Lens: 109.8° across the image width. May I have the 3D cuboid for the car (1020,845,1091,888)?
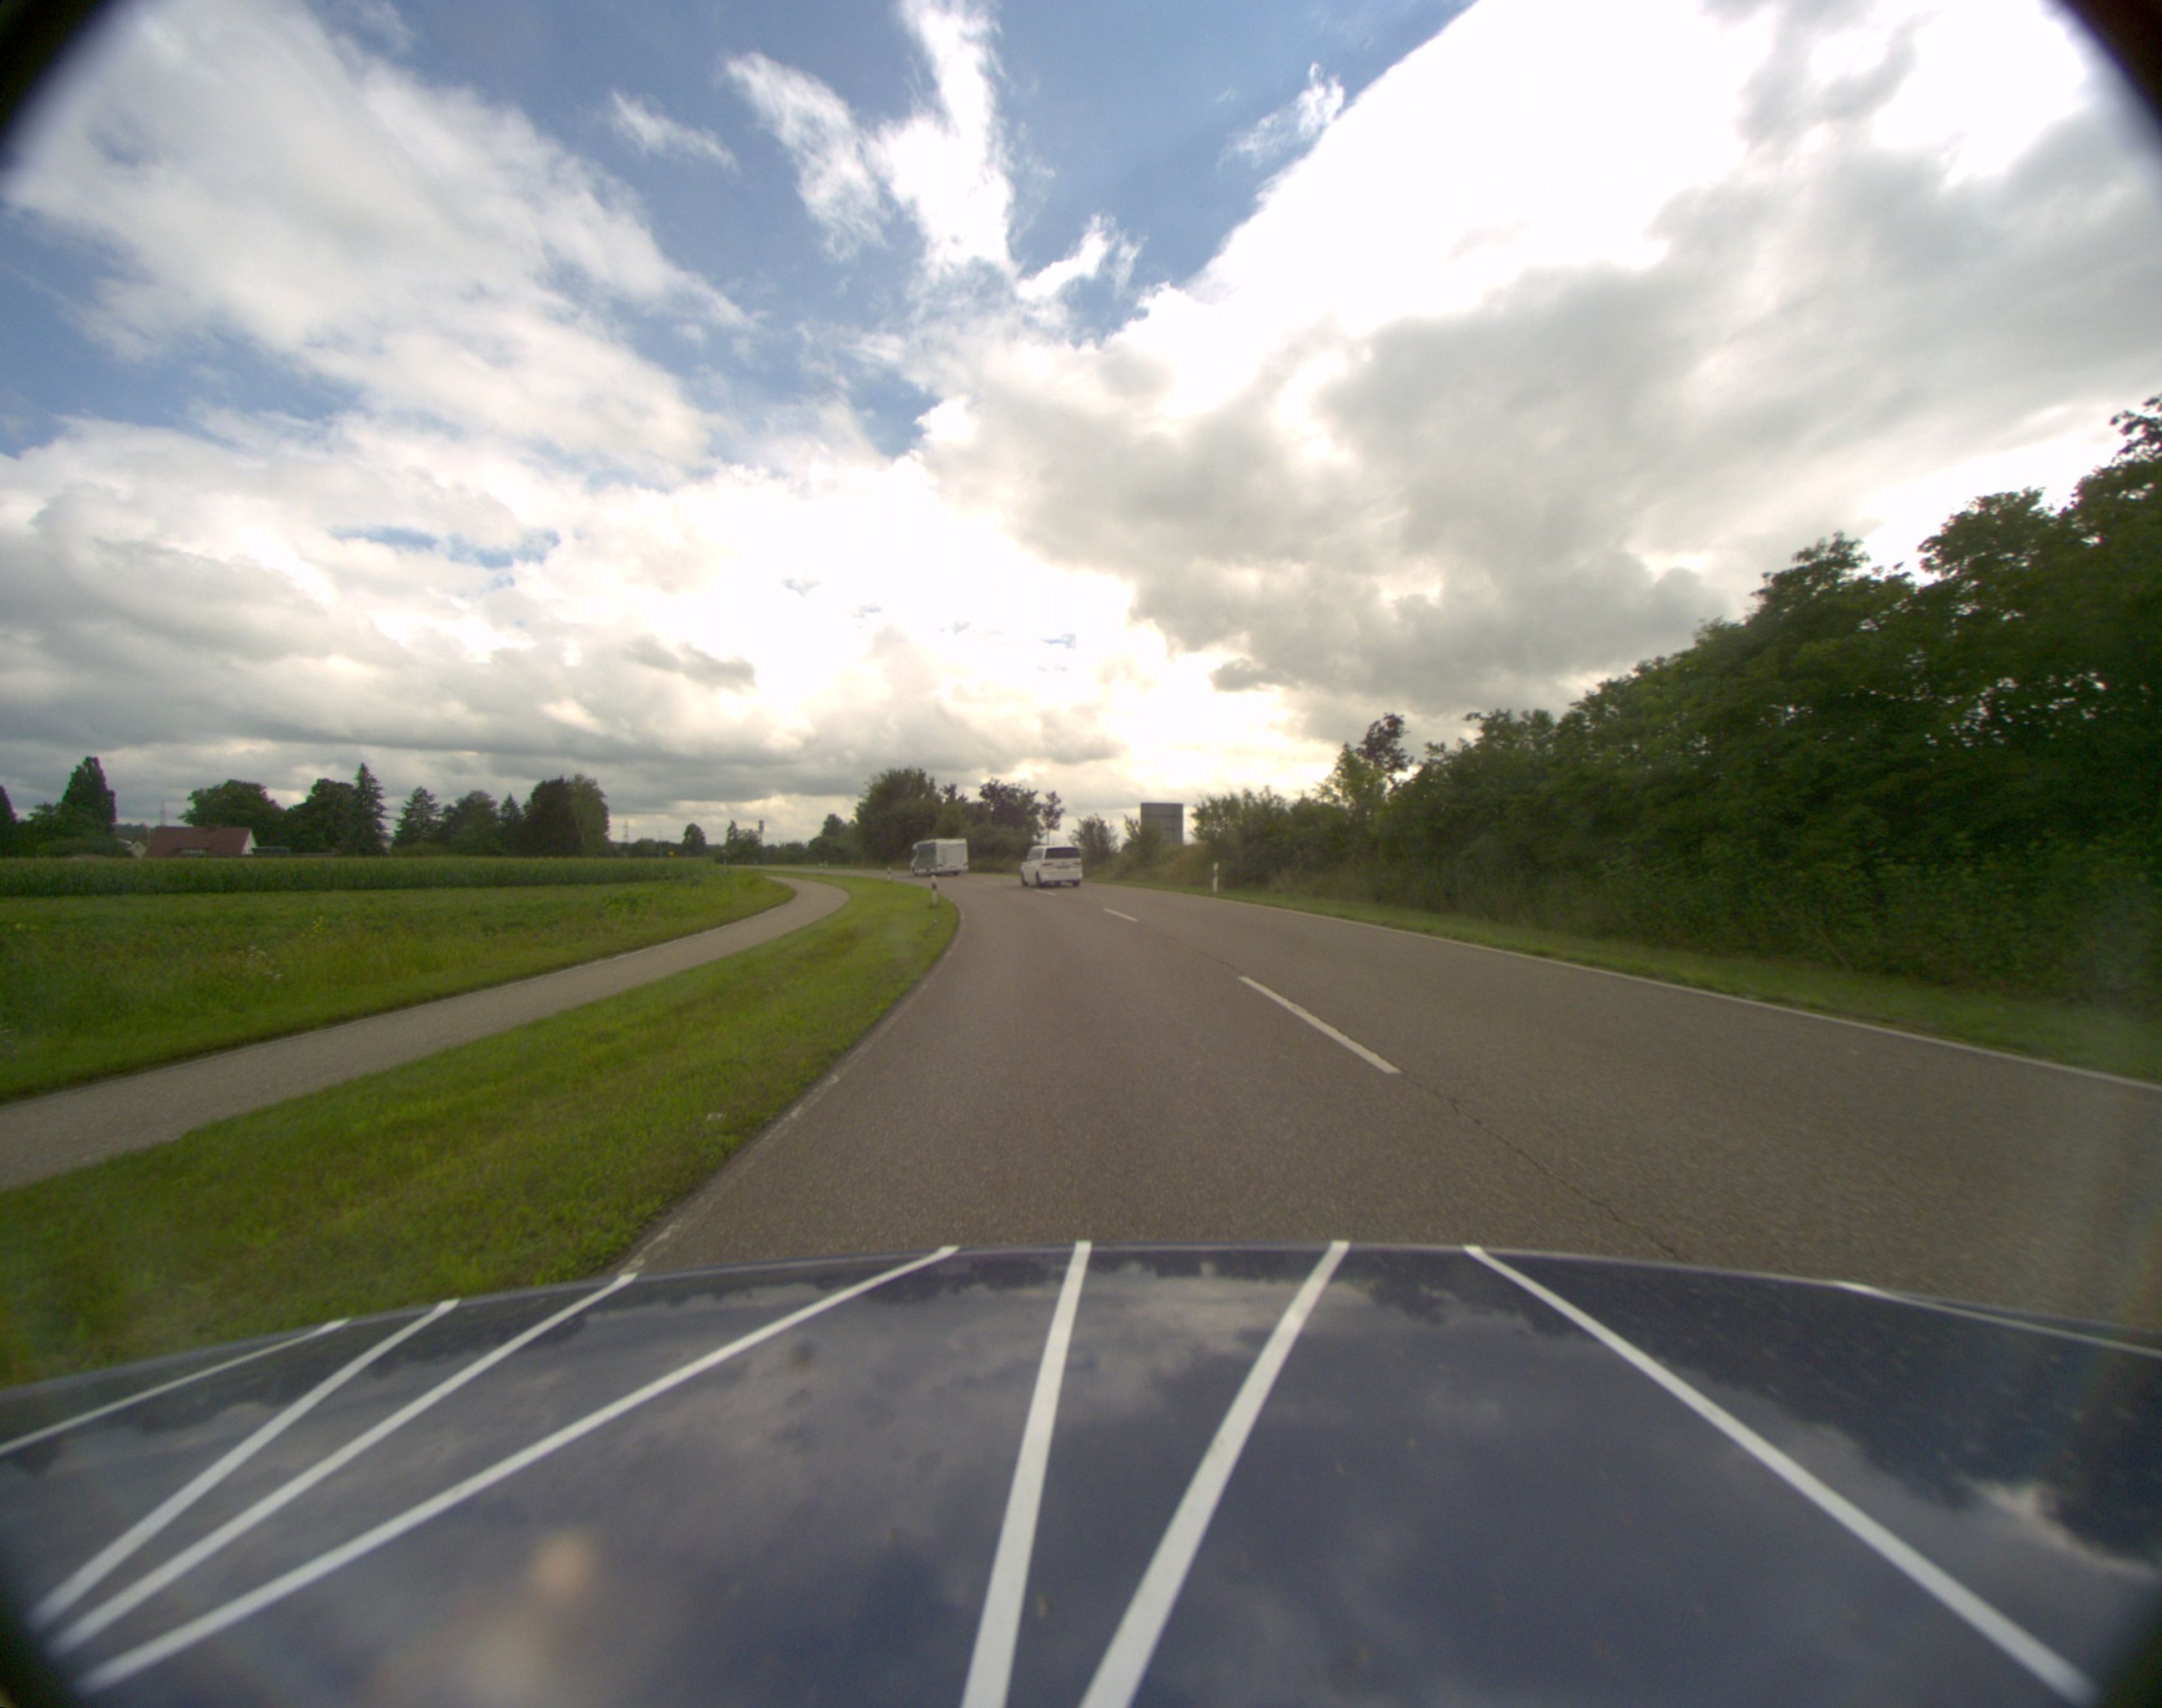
[{"bbox_3d":[-1.304,0.524,35.822,2.121,1.858,5.179,-1,1,-16],"label":"car"}]

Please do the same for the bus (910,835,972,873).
[{"bbox_3d":[-11.076,0.003,59.315,2.486,2.695,8.411,-1,1,-27],"label":"bus"}]
